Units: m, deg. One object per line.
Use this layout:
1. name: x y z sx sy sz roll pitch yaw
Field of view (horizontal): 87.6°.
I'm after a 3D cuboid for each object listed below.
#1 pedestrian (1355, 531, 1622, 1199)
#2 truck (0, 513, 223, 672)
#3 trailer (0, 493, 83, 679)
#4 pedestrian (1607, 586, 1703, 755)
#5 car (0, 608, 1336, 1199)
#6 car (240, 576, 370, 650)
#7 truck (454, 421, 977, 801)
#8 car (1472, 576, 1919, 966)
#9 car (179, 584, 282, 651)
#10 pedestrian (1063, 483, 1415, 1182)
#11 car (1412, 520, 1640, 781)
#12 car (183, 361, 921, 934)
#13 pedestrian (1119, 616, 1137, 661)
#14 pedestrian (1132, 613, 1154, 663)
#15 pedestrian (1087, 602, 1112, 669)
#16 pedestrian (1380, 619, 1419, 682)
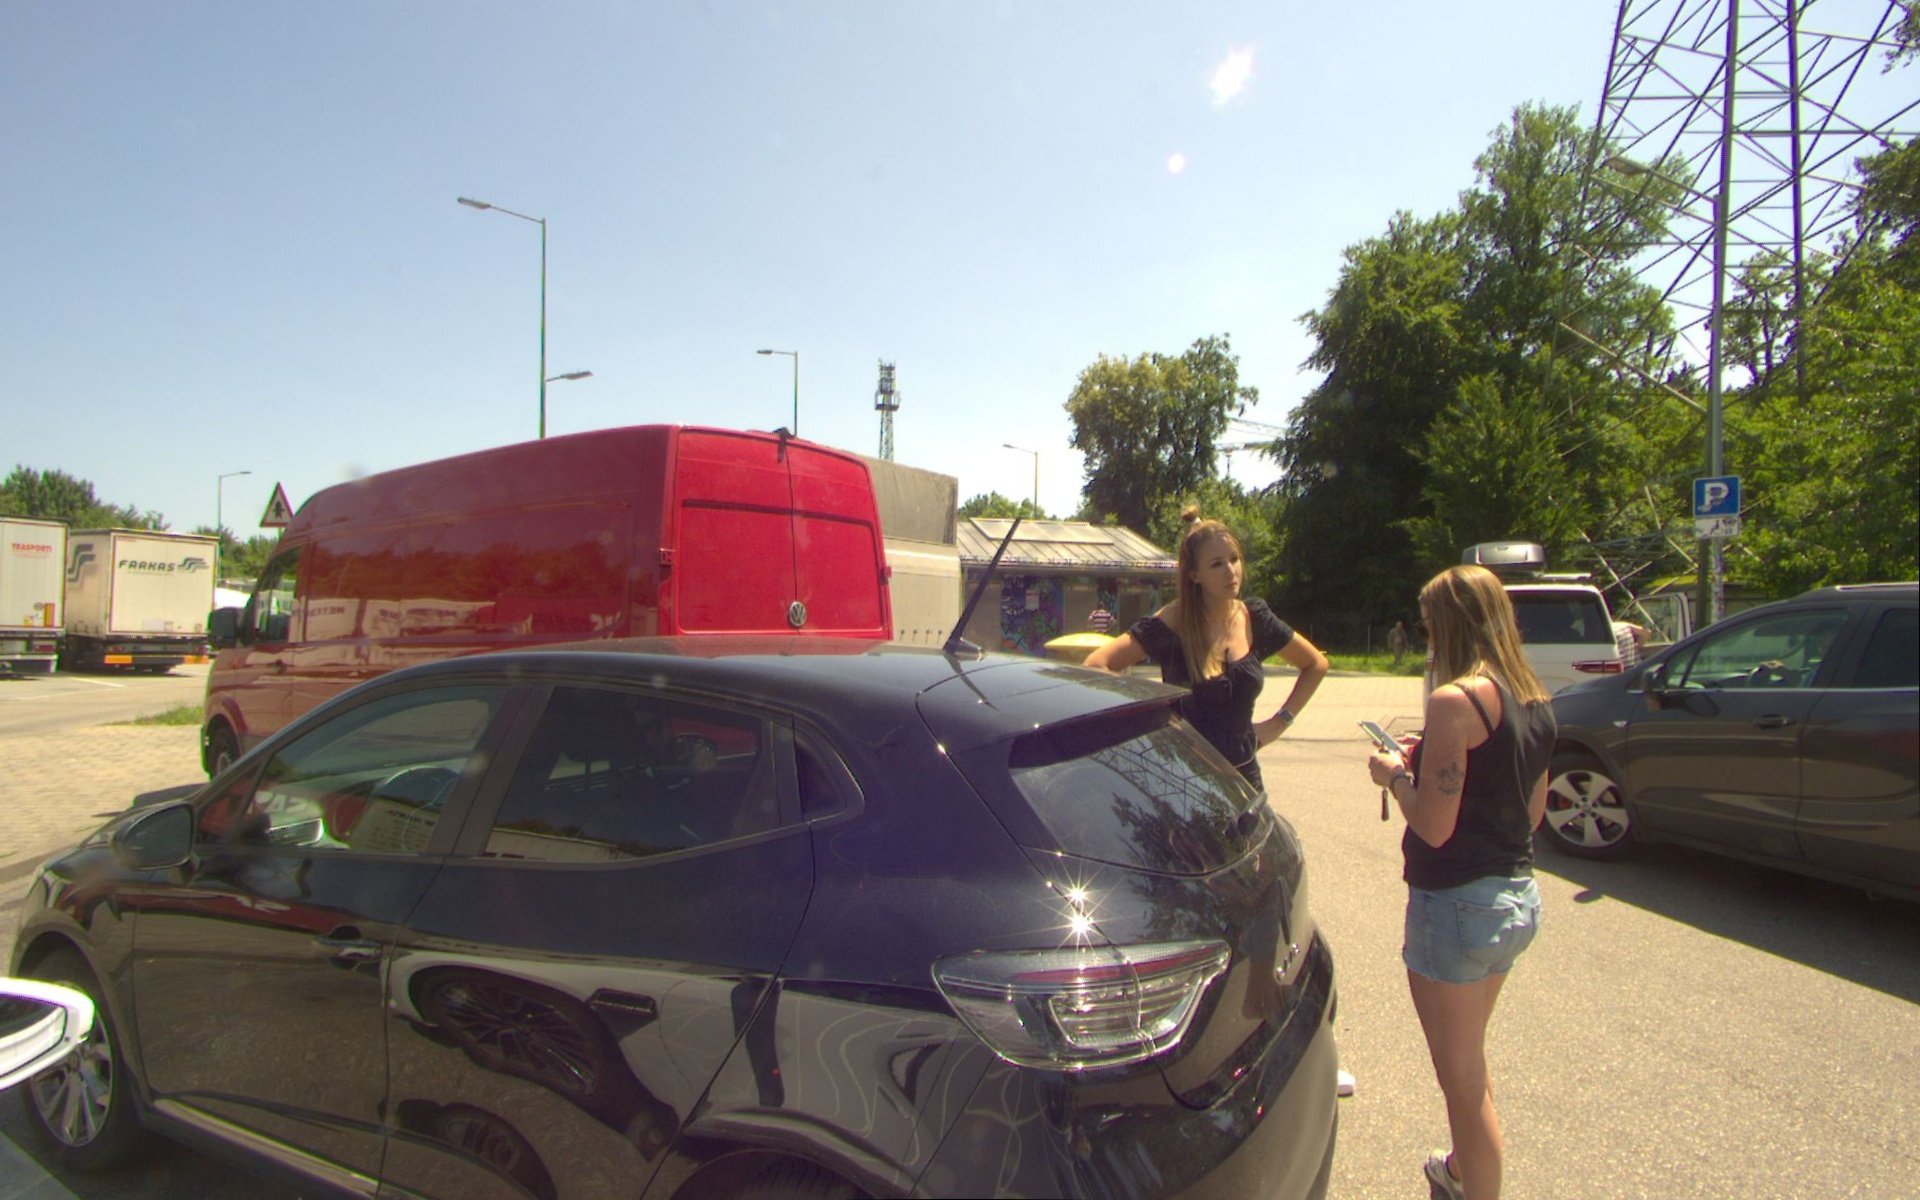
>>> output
1. pedestrian: 1.195 0.679 2.288 0.478 1.615 0.501 0 0 29
2. truck: -27.100 -0.027 31.207 11.800 4.279 2.582 -1 -2 32
3. trailer: -28.536 -0.342 27.834 12.642 4.511 2.677 0 -1 32
4. pedestrian: 8.210 0.815 11.866 0.827 1.903 0.773 -1 -1 29
5. car: -0.934 0.809 2.860 3.626 1.476 1.777 -1 -2 26
6. car: -29.434 0.595 44.933 6.259 3.115 2.495 0 -1 32
7. truck: -2.496 0.169 9.920 4.751 2.863 2.514 -1 -2 34
8. car: 4.816 0.749 5.082 1.804 1.638 4.165 1 -1 -10
9. car: -29.906 0.750 41.016 3.943 2.632 2.111 -1 -2 32
10. pedestrian: 0.825 0.637 3.043 0.896 1.884 0.487 1 0 -13
11. car: 6.637 0.525 11.866 1.901 2.401 4.954 1 -1 29
12. car: -3.375 0.247 7.334 6.298 2.668 1.988 0 -1 36
13. pedestrian: 5.047 1.154 30.105 0.439 1.362 0.477 0 0 23
14. pedestrian: 5.464 1.136 29.930 0.521 1.478 0.576 0 0 23
15. pedestrian: 3.771 0.950 27.016 0.520 1.783 0.651 0 0 23
16. pedestrian: 14.401 1.637 32.828 0.955 2.039 0.829 0 -1 10
